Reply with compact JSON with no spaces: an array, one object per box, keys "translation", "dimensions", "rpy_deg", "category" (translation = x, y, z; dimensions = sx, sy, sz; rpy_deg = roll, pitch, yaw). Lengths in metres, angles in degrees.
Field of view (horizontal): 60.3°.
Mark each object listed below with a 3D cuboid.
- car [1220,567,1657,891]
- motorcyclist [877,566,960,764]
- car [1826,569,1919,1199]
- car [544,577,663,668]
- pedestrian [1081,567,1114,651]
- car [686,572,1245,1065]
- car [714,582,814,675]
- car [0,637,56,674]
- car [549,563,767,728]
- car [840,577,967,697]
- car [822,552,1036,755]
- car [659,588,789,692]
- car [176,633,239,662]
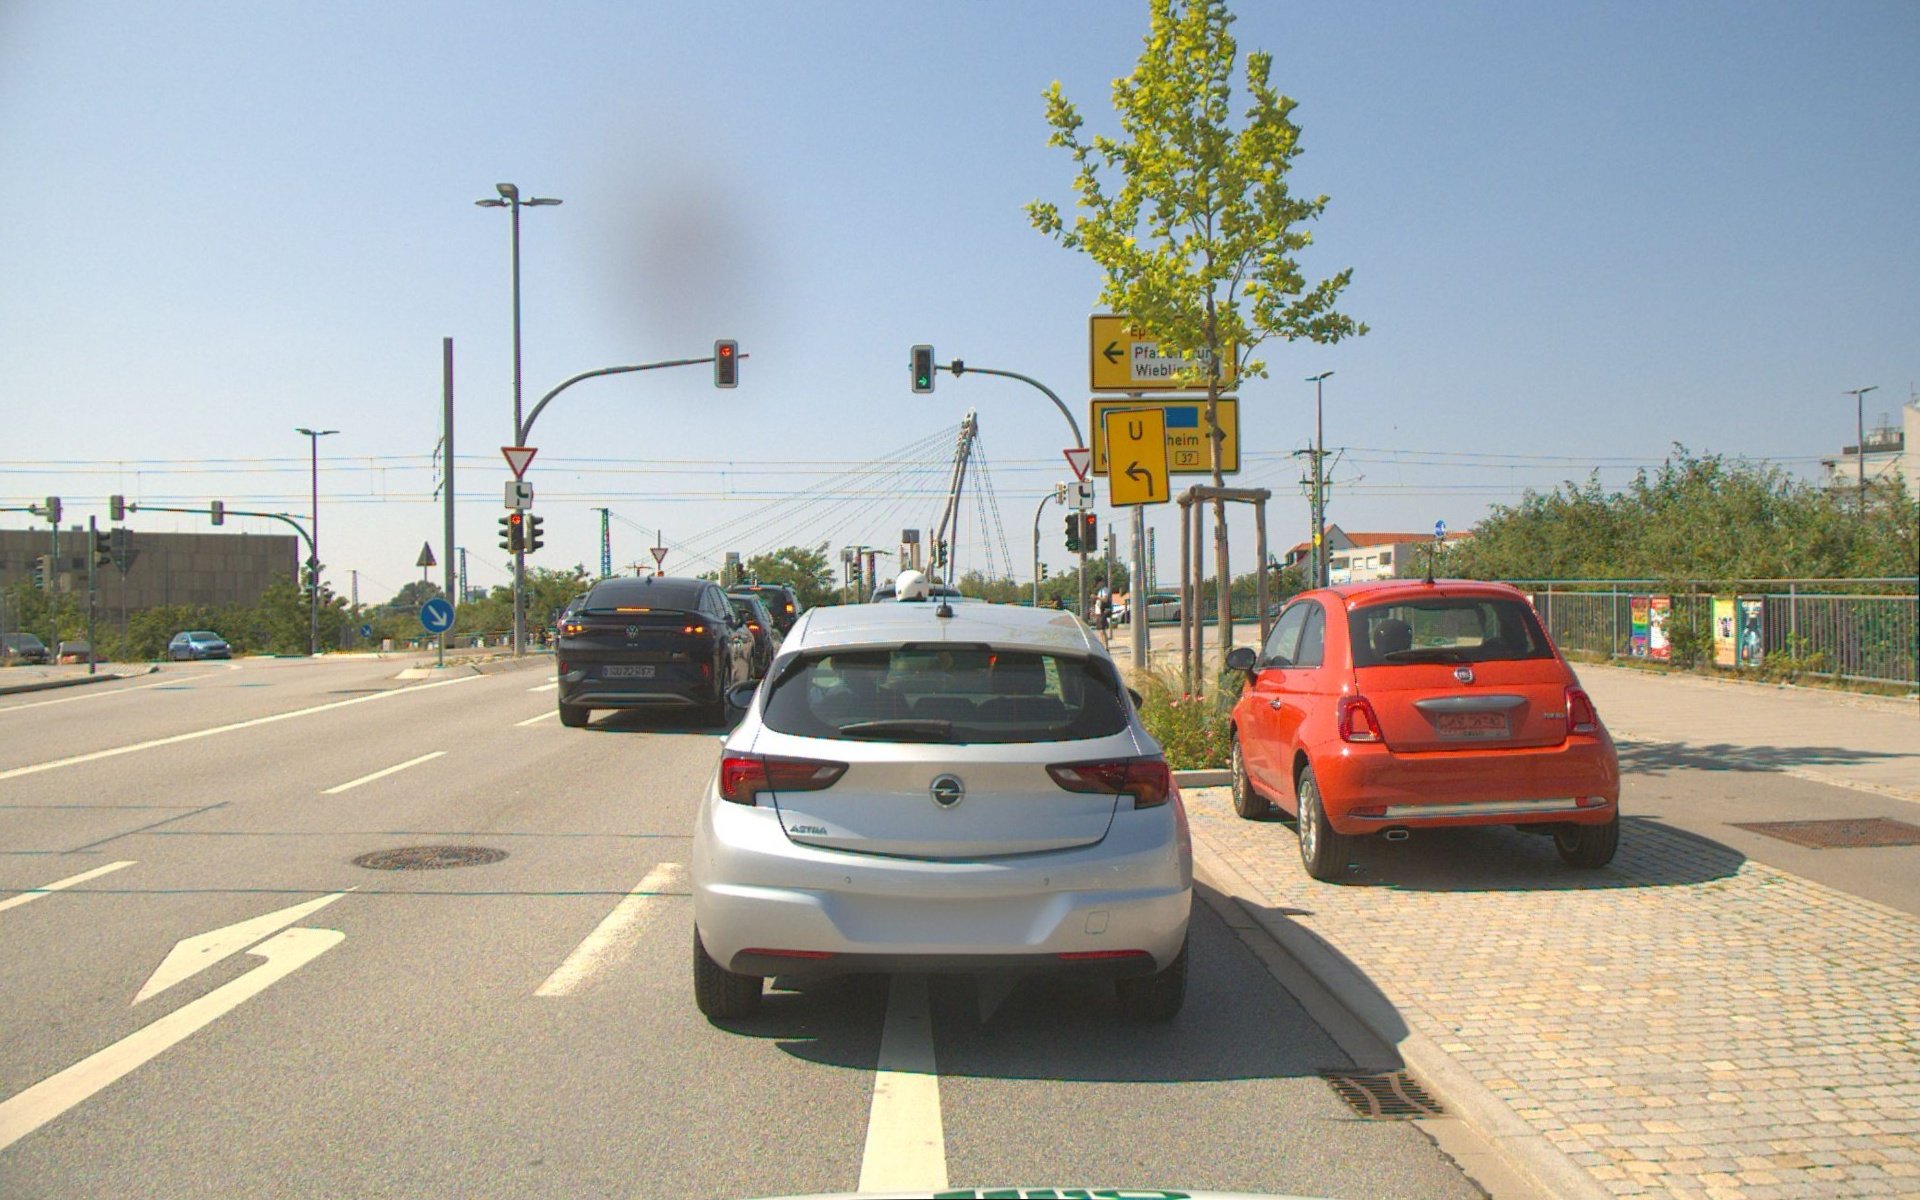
[{"translation":[2.603,0.619,9.760],"dimensions":[1.577,1.522,3.352],"rpy_deg":[-2,0,0],"category":"car"},{"translation":[-0.299,0.470,12.247],"dimensions":[0.570,1.413,0.707],"rpy_deg":[1,-1,0],"category":"motorcyclist"},{"translation":[2.916,0.625,1.909],"dimensions":[1.627,1.451,3.999],"rpy_deg":[-2,0,-1],"category":"car"},{"translation":[-6.578,0.397,30.869],"dimensions":[1.565,1.574,3.760],"rpy_deg":[1,0,-3],"category":"car"},{"translation":[3.109,0.203,37.439],"dimensions":[0.634,1.868,0.797],"rpy_deg":[-1,0,-3],"category":"pedestrian"},{"translation":[-0.084,0.689,7.112],"dimensions":[1.708,1.503,3.997],"rpy_deg":[1,0,-3],"category":"car"},{"translation":[-3.686,0.513,31.535],"dimensions":[1.616,1.643,3.818],"rpy_deg":[1,0,-3],"category":"car"},{"translation":[-41.235,2.432,73.105],"dimensions":[1.662,1.502,3.358],"rpy_deg":[-1,1,-39],"category":"car"},{"translation":[-3.370,0.481,19.252],"dimensions":[1.765,1.670,4.365],"rpy_deg":[1,0,-1],"category":"car"},{"translation":[-0.784,0.471,24.423],"dimensions":[1.689,1.591,4.000],"rpy_deg":[1,1,-1],"category":"car"},{"translation":[-0.316,0.472,17.530],"dimensions":[1.953,1.852,4.401],"rpy_deg":[1,1,-1],"category":"car"},{"translation":[-3.573,0.579,25.574],"dimensions":[1.543,1.459,3.785],"rpy_deg":[1,0,-2],"category":"car"},{"translation":[-36.221,2.288,79.586],"dimensions":[1.806,1.354,3.941],"rpy_deg":[1,-2,-40],"category":"car"}]
